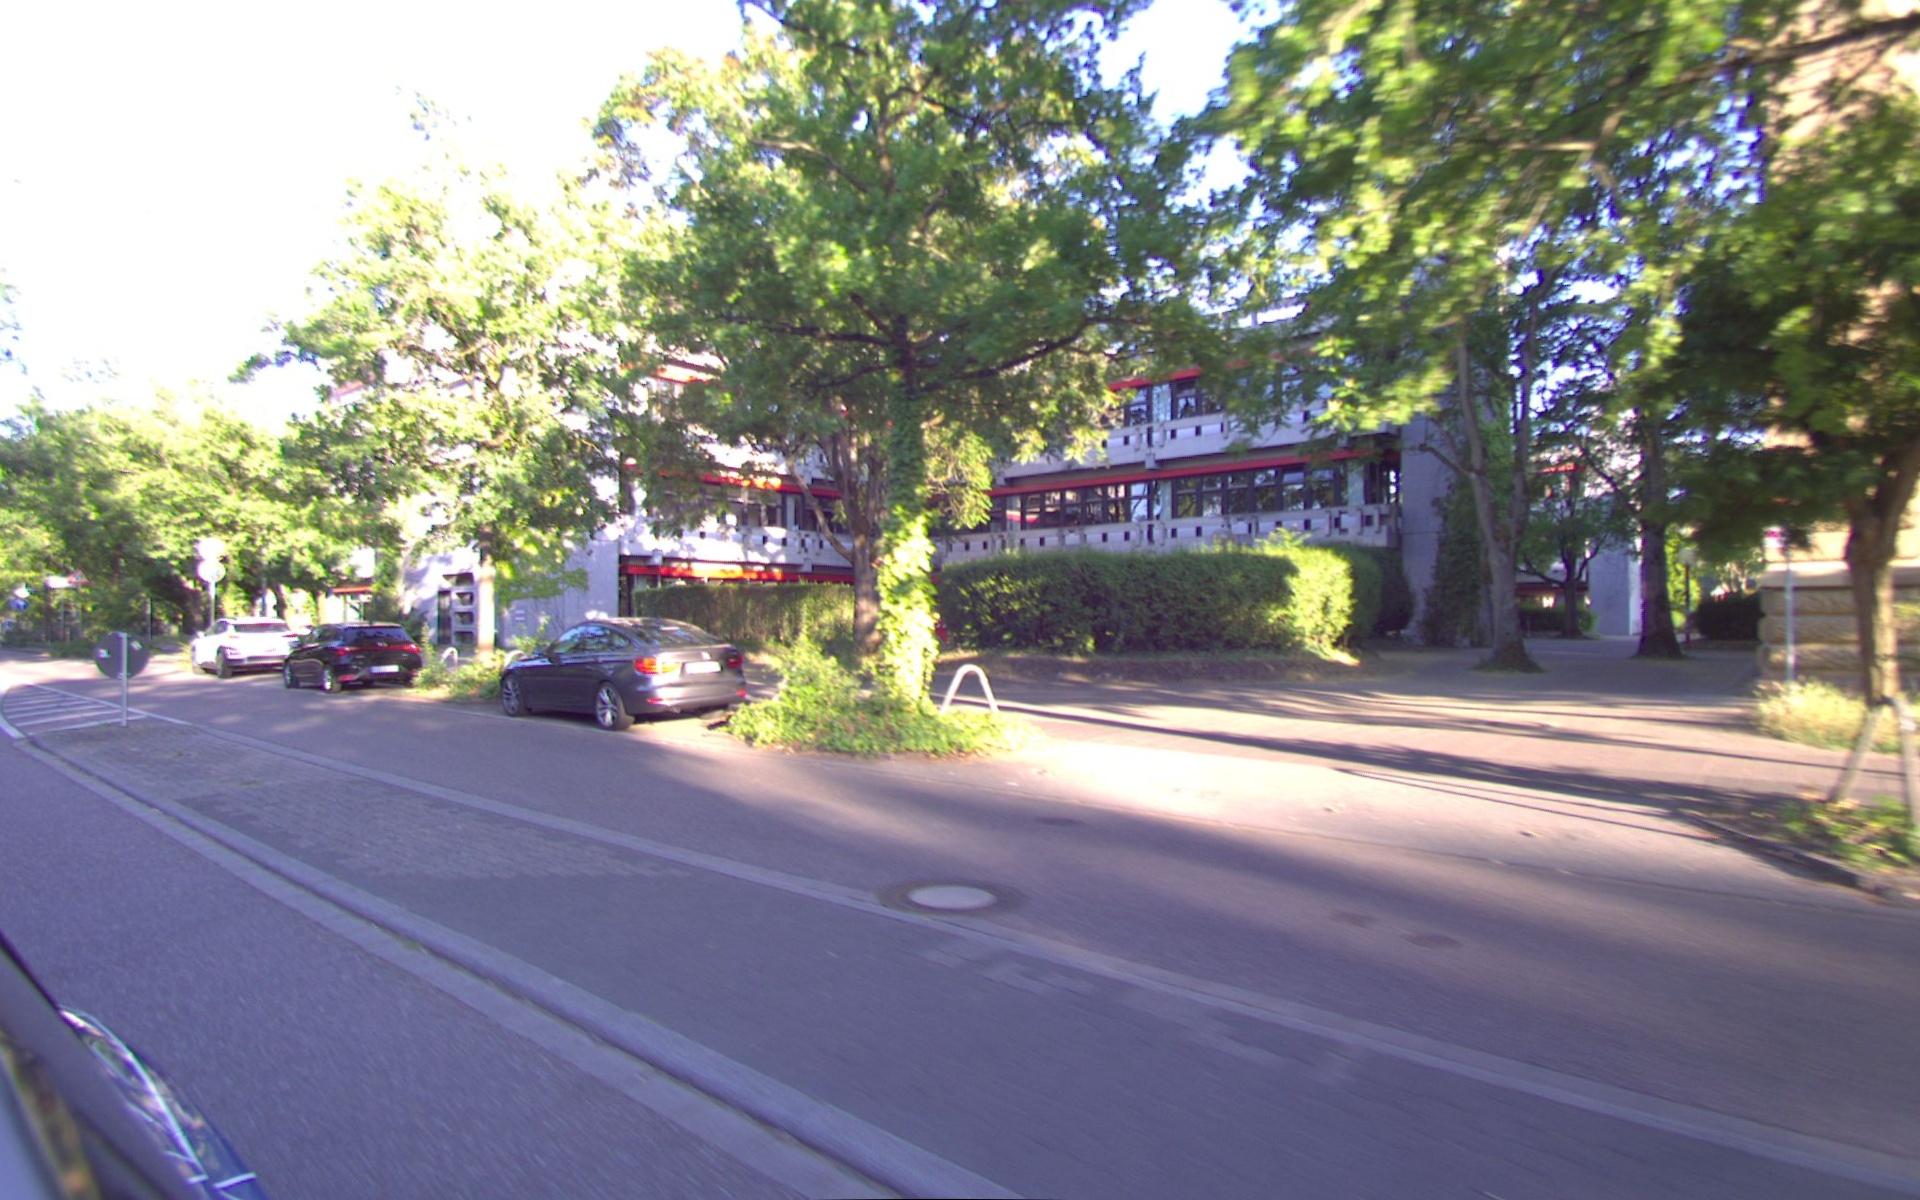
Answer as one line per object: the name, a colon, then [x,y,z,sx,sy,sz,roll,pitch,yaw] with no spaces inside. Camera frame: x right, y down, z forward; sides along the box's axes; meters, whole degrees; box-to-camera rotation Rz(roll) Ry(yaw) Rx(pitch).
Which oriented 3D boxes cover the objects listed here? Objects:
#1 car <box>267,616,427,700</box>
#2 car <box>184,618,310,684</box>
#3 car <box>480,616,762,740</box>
car: [-13.329,1.178,21.908,4.144,1.628,1.762,-1,-1,40]
car: [-19.232,1.317,27.235,4.144,1.628,1.785,-1,-2,40]
car: [-5.140,1.024,14.925,4.861,1.522,1.783,-1,-1,42]
